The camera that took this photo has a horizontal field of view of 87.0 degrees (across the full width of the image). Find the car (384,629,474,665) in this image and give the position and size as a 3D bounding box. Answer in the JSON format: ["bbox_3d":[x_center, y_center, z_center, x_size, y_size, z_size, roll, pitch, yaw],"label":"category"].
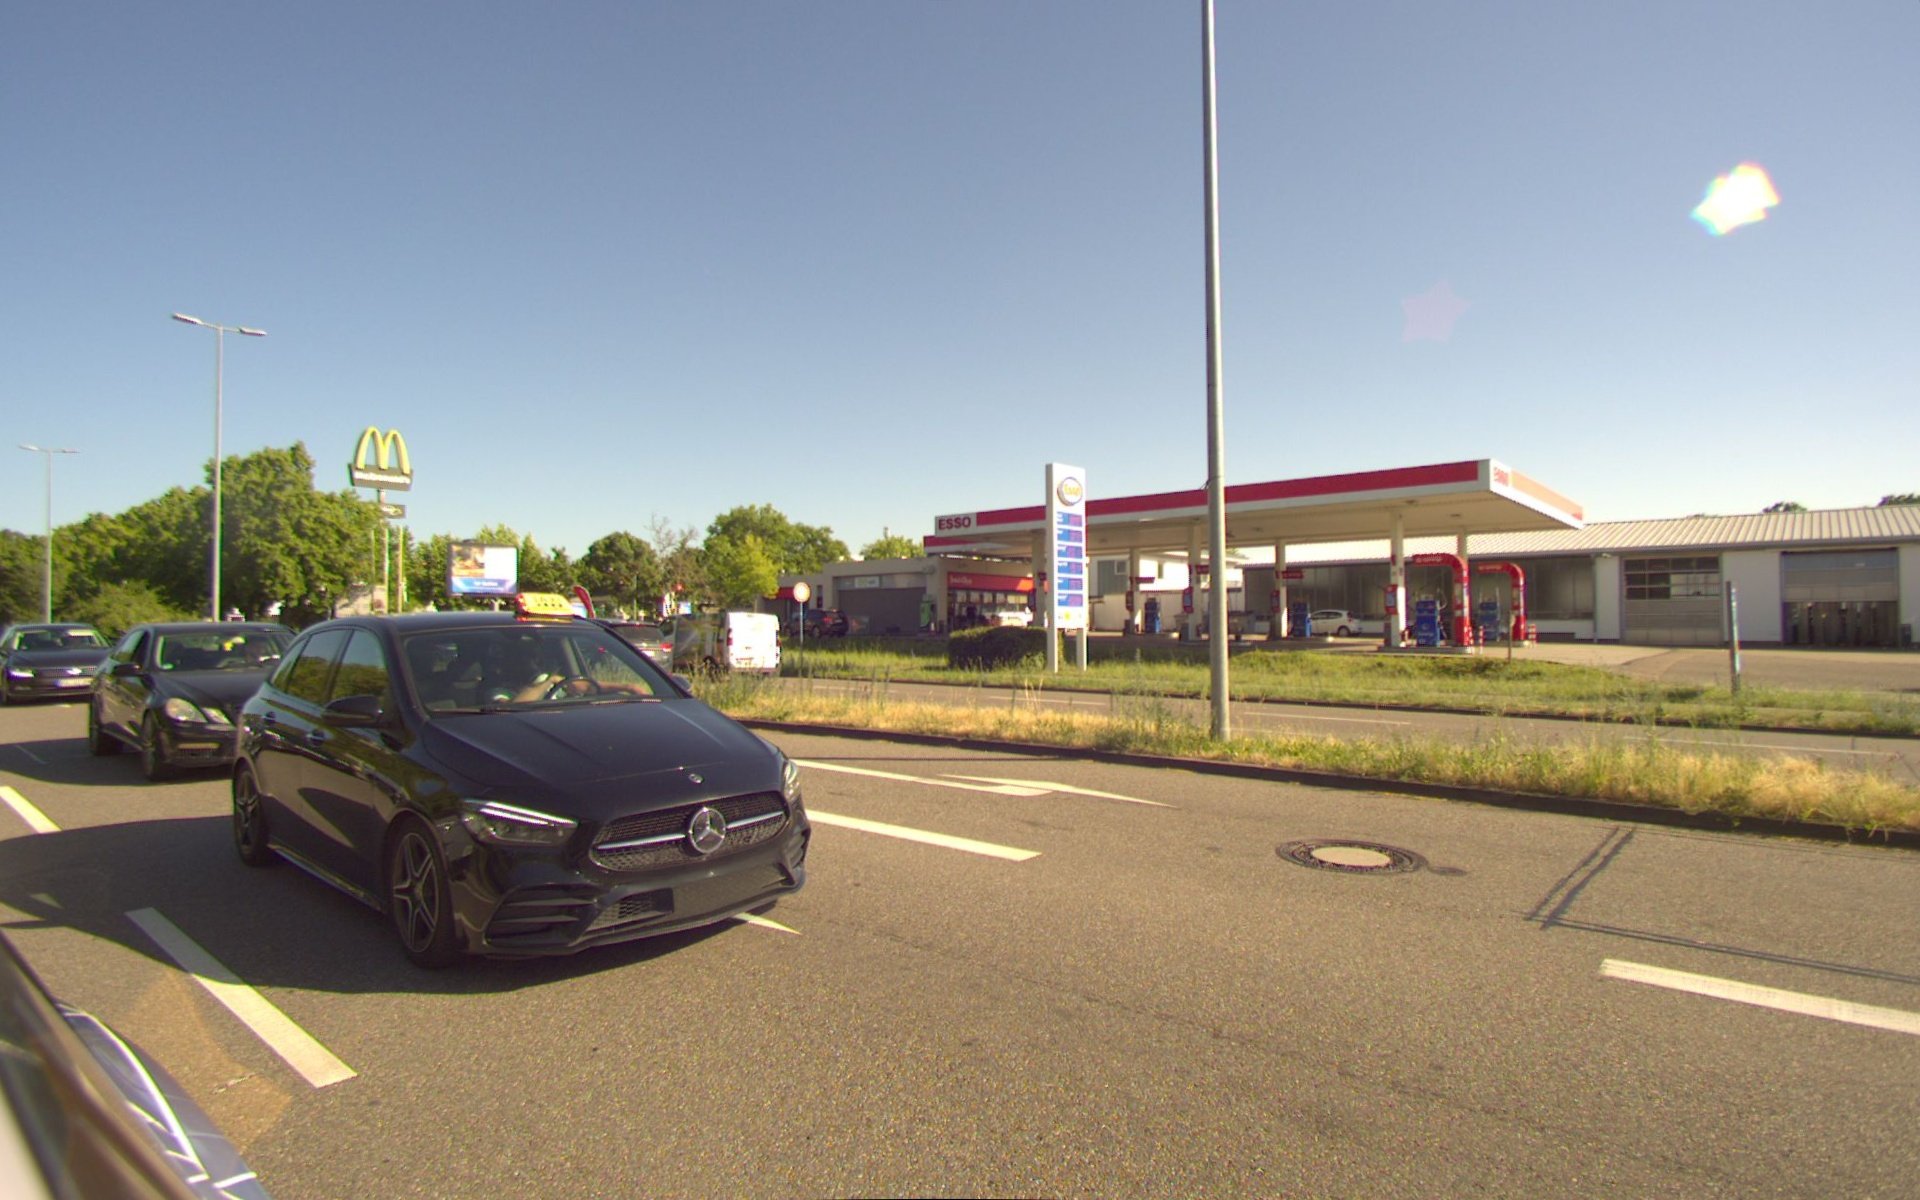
[{"bbox_3d":[-23.294,2.049,44.361,4.605,1.457,1.884,-1,-4,41],"label":"car"}]

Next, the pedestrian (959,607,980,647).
[{"bbox_3d":[0.491,1.386,52.028,0.840,2.029,0.694,-2,-2,41],"label":"pedestrian"}]

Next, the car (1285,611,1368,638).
[{"bbox_3d":[19.843,1.337,54.877,3.844,1.450,1.730,-2,-2,39],"label":"car"}]

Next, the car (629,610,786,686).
[{"bbox_3d":[-7.443,1.366,29.519,5.025,2.029,1.972,-2,-3,42],"label":"car"}]

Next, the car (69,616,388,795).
[{"bbox_3d":[-7.948,0.960,10.836,4.401,1.535,1.838,-2,-2,41],"label":"car"}]

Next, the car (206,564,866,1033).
[{"bbox_3d":[-2.598,0.746,5.626,4.187,1.638,1.780,-2,-2,42],"label":"car"}]

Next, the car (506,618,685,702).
[{"bbox_3d":[-8.280,1.293,22.805,4.433,1.703,1.860,-2,-2,41],"label":"car"}]

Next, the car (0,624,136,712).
[{"bbox_3d":[-17.507,1.222,19.489,4.401,1.492,1.838,-2,-2,41],"label":"car"}]

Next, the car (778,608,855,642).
[{"bbox_3d":[-7.848,1.367,55.082,4.117,1.783,1.972,-2,-1,43],"label":"car"}]
